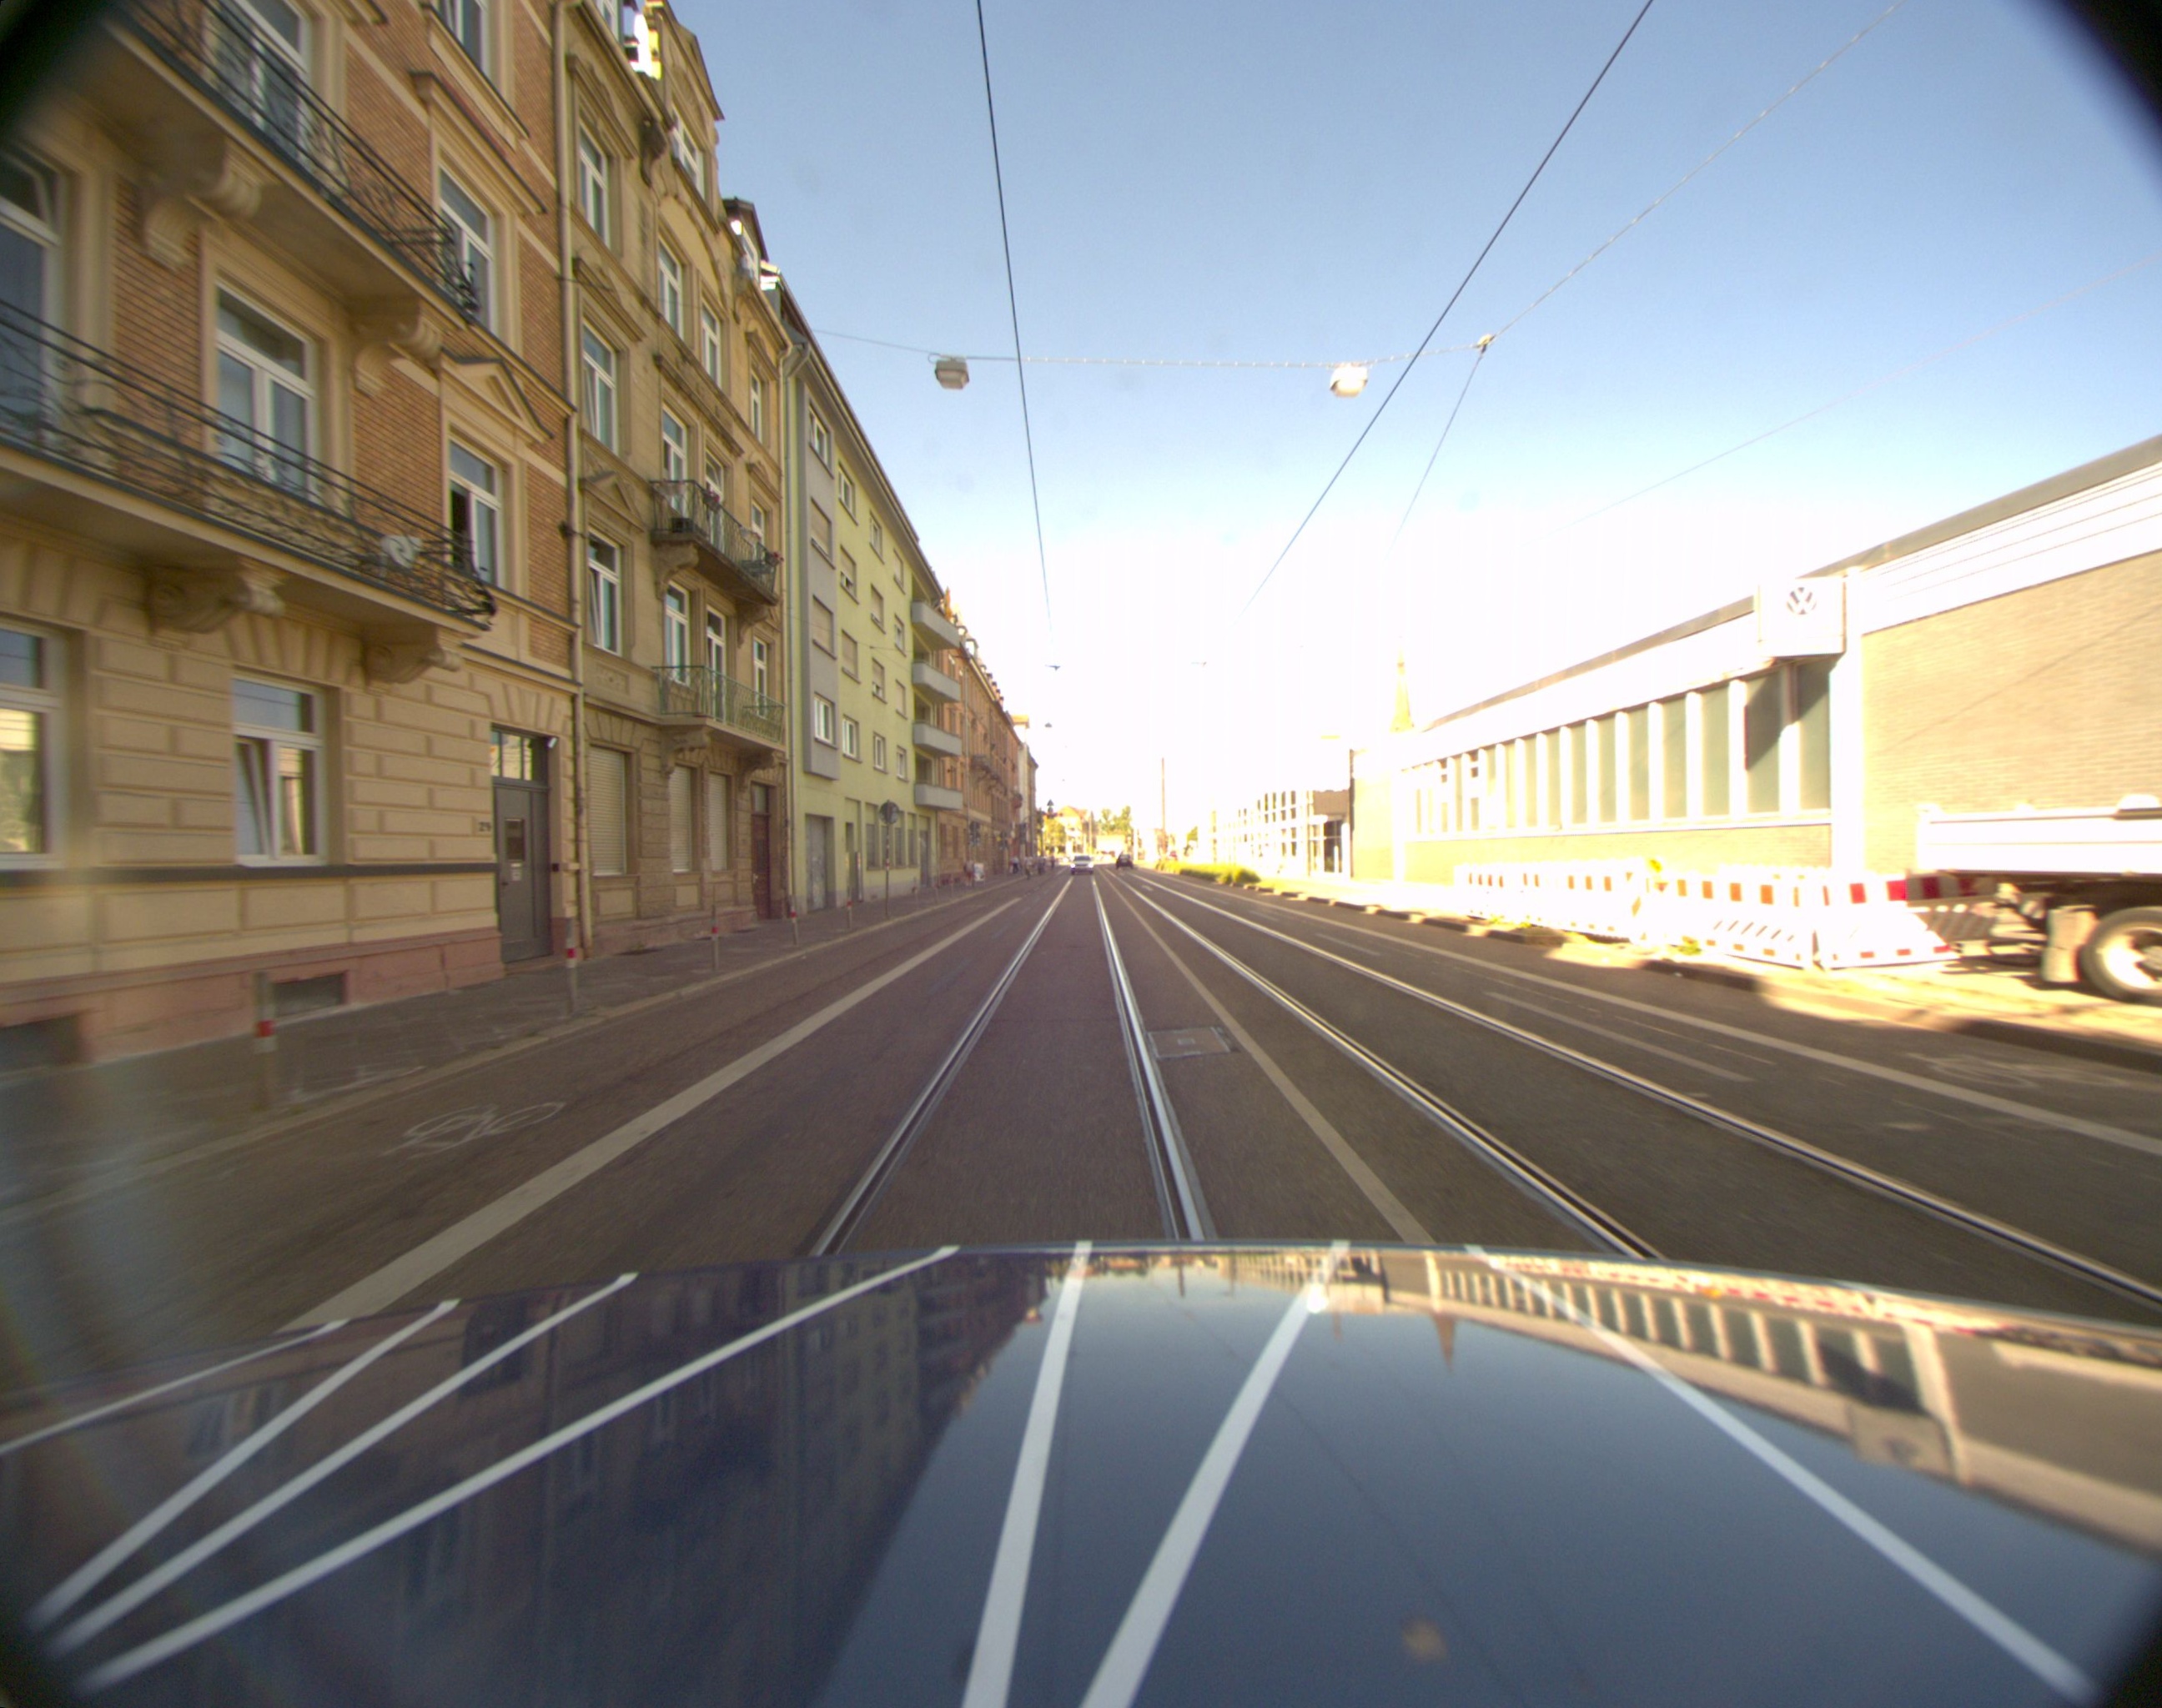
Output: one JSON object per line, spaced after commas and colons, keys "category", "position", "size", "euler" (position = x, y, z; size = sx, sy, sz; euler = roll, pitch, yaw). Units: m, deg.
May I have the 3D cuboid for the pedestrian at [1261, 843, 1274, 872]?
{"category": "pedestrian", "position": [11.474, 0.230, 46.760], "size": [0.528, 1.754, 1.051], "euler": [-3, 1, 1]}

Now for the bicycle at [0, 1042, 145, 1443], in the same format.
{"category": "bicycle", "position": [-3.477, 1.225, 1.267], "size": [0.683, 1.108, 2.705], "euler": [-3, 0, -7]}

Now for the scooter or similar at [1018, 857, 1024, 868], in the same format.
{"category": "scooter or similar", "position": [-6.483, 0.924, 82.039], "size": [0.407, 1.204, 1.480], "euler": [0, 1, 1]}

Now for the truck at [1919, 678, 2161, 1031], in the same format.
{"category": "truck", "position": [9.947, -0.034, 4.581], "size": [2.545, 2.814, 6.373], "euler": [-3, 1, -3]}

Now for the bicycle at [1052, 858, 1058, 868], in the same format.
{"category": "bicycle", "position": [-2.895, 0.969, 83.243], "size": [0.533, 1.111, 1.933], "euler": [-2, 1, 0]}

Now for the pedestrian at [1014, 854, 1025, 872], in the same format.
{"category": "pedestrian", "position": [-5.467, 0.774, 67.649], "size": [0.800, 1.596, 0.652], "euler": [-1, 1, 3]}

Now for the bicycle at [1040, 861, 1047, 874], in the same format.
{"category": "bicycle", "position": [-3.250, 1.124, 65.360], "size": [0.387, 1.062, 1.934], "euler": [-1, 0, 3]}

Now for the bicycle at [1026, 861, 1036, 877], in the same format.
{"category": "bicycle", "position": [-3.480, 1.056, 53.035], "size": [0.533, 1.110, 1.934], "euler": [-3, -1, 1]}

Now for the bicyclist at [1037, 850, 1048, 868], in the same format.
{"category": "bicyclist", "position": [-3.281, 0.428, 65.283], "size": [0.784, 1.584, 0.886], "euler": [-1, 0, 3]}

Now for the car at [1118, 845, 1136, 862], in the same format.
{"category": "car", "position": [4.882, -0.087, 81.260], "size": [1.763, 1.687, 4.143], "euler": [-3, 1, 2]}

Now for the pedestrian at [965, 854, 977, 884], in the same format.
{"category": "pedestrian", "position": [-6.249, 0.832, 43.200], "size": [0.554, 1.691, 0.474], "euler": [1, 1, 0]}

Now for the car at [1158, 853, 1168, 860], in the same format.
{"category": "car", "position": [16.751, 0.501, 155.556], "size": [1.653, 1.470, 3.971], "euler": [0, 0, 1]}

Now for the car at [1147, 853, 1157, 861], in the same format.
{"category": "car", "position": [14.114, 0.645, 151.223], "size": [1.807, 1.424, 4.540], "euler": [-3, 1, 1]}

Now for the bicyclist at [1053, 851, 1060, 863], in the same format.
{"category": "bicyclist", "position": [-2.963, 0.314, 92.430], "size": [0.675, 1.413, 1.036], "euler": [-3, 1, -1]}

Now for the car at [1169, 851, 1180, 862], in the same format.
{"category": "car", "position": [15.811, 0.442, 128.817], "size": [1.803, 1.709, 4.418], "euler": [0, 1, 6]}

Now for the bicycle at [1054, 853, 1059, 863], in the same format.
{"category": "bicycle", "position": [-2.960, 0.427, 92.285], "size": [0.533, 1.152, 1.865], "euler": [-2, 1, 0]}

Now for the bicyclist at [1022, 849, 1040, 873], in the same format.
{"category": "bicyclist", "position": [-3.493, 0.480, 53.077], "size": [0.681, 1.674, 1.122], "euler": [-2, 1, 29]}

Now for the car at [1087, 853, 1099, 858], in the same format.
{"category": "car", "position": [3.552, 0.413, 221.330], "size": [1.915, 1.449, 4.592], "euler": [-2, 1, -19]}

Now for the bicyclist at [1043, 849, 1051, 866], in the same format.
{"category": "bicyclist", "position": [-3.161, 0.325, 70.569], "size": [0.625, 1.604, 0.981], "euler": [-3, 1, 3]}

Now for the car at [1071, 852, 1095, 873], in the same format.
{"category": "car", "position": [0.187, 0.717, 64.879], "size": [1.868, 1.635, 4.397], "euler": [-1, 0, 1]}

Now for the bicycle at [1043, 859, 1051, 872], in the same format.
{"category": "bicycle", "position": [-3.129, 1.070, 70.517], "size": [0.533, 1.111, 1.933], "euler": [-1, 1, 2]}

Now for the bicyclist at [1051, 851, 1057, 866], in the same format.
{"category": "bicyclist", "position": [-2.916, 0.480, 83.200], "size": [0.551, 1.604, 0.953], "euler": [-3, 1, 0]}
